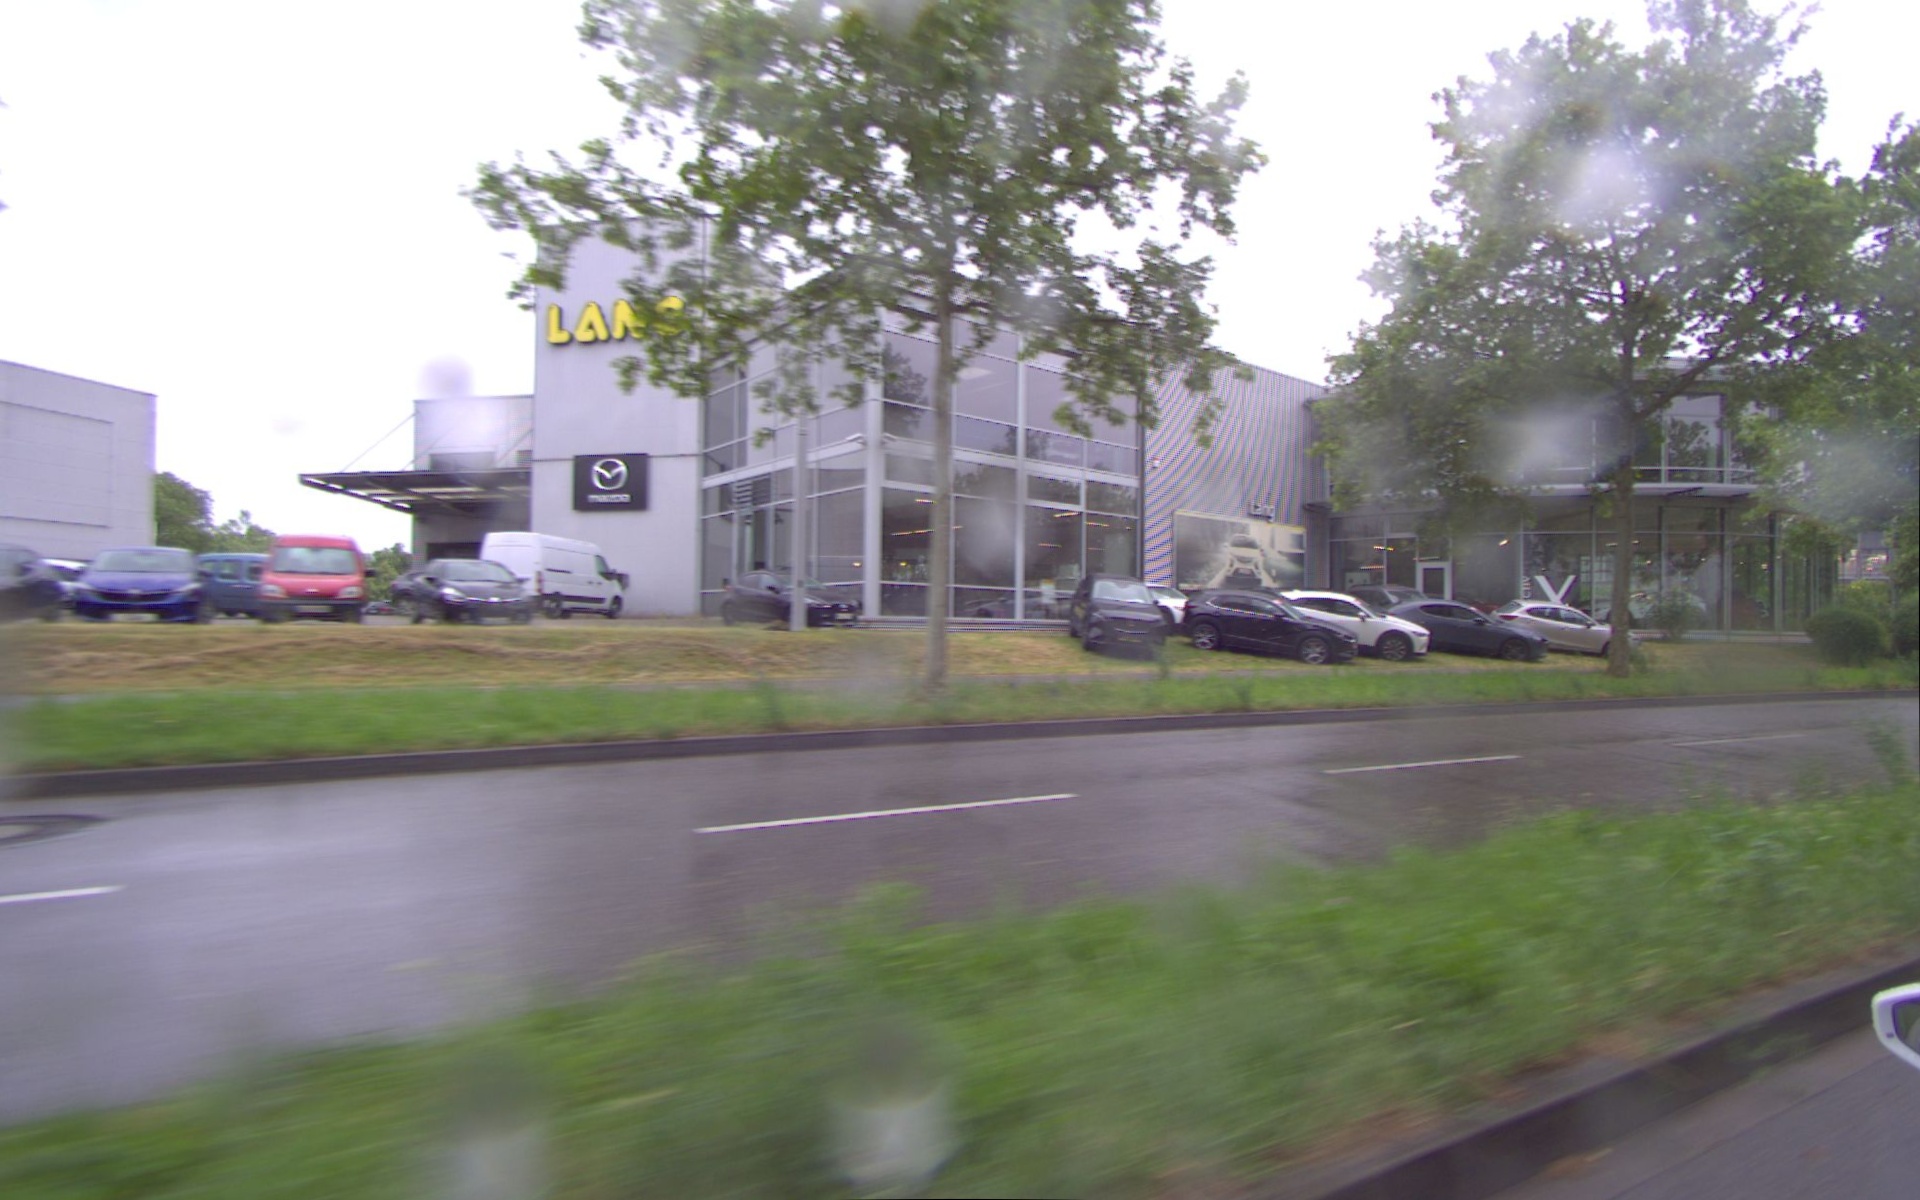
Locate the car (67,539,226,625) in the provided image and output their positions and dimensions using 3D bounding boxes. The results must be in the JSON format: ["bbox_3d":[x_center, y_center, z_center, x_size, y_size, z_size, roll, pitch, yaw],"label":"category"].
[{"bbox_3d":[-14.134,-0.369,17.647,1.749,1.344,3.502,0,3,-32],"label":"car"}]

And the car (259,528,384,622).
[{"bbox_3d":[-12.109,-0.517,19.116,1.827,1.578,3.972,0,3,-32],"label":"car"}]

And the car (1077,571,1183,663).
[{"bbox_3d":[3.996,0.314,24.313,1.811,1.578,4.435,4,6,1],"label":"car"}]

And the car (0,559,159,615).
[{"bbox_3d":[-29.235,-0.422,33.072,4.087,1.752,1.763,0,1,-15],"label":"car"}]

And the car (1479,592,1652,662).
[{"bbox_3d":[17.932,0.758,29.950,3.920,1.496,1.785,5,6,13],"label":"car"}]

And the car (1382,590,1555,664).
[{"bbox_3d":[14.088,0.696,28.138,4.050,1.442,1.846,7,7,22],"label":"car"}]

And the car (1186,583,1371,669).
[{"bbox_3d":[7.948,0.590,25.105,4.053,1.499,1.845,7,7,26],"label":"car"}]

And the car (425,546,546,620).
[{"bbox_3d":[-9.980,-0.399,20.966,1.827,1.376,3.972,0,3,-32],"label":"car"}]

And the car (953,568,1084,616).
[{"bbox_3d":[1.899,-0.242,33.803,1.905,1.493,4.382,1,0,-41],"label":"car"}]

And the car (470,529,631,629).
[{"bbox_3d":[-12.564,-0.632,31.299,2.127,2.789,5.341,2,1,9],"label":"car"}]

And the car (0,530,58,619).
[{"bbox_3d":[-16.193,-0.470,16.287,1.749,1.344,3.502,0,3,-32],"label":"car"}]

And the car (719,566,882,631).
[{"bbox_3d":[-3.982,-0.082,24.741,3.948,1.376,1.839,3,3,40],"label":"car"}]

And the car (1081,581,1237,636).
[{"bbox_3d":[5.709,0.234,29.267,1.901,1.493,4.393,1,0,-35],"label":"car"}]

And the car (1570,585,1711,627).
[{"bbox_3d":[25.607,0.229,37.916,4.029,1.495,1.785,1,0,4],"label":"car"}]

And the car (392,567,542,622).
[{"bbox_3d":[-17.802,-0.203,36.362,4.559,1.788,1.821,2,1,6],"label":"car"}]

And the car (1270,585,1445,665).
[{"bbox_3d":[10.429,0.597,26.638,4.048,1.499,1.847,6,7,18],"label":"car"}]

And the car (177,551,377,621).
[{"bbox_3d":[-19.173,-0.396,28.294,4.559,1.788,1.821,2,1,6],"label":"car"}]
